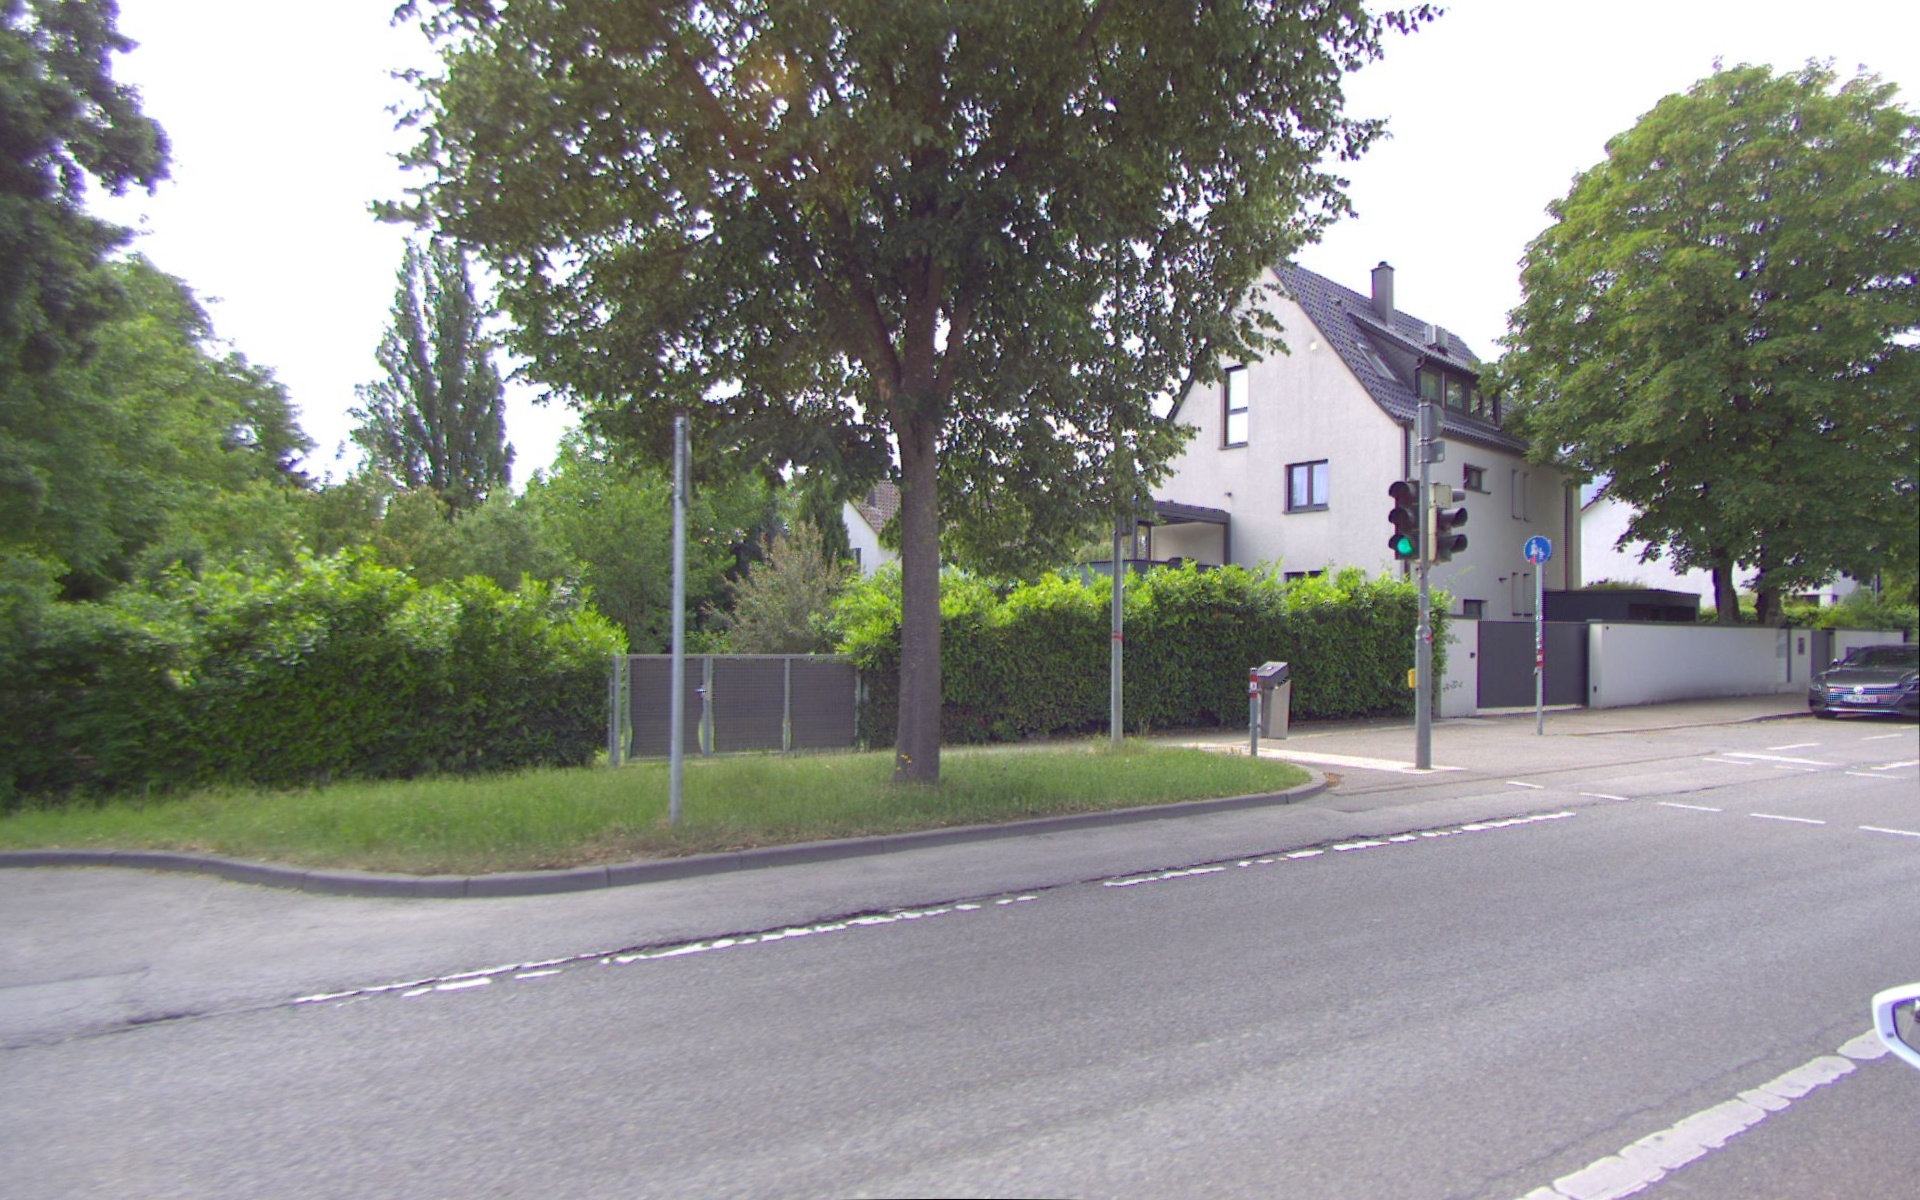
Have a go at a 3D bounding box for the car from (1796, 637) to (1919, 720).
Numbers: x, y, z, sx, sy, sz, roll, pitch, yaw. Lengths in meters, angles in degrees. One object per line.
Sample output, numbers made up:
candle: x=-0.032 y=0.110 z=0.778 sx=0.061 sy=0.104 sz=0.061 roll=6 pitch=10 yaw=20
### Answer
car: x=18.079 y=1.436 z=19.216 sx=4.745 sy=1.413 sz=1.710 roll=1 pitch=-3 yaw=-31

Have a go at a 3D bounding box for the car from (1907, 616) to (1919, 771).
car: x=12.536 y=1.001 z=11.017 sx=4.287 sy=1.656 sz=1.867 roll=1 pitch=-3 yaw=-29
